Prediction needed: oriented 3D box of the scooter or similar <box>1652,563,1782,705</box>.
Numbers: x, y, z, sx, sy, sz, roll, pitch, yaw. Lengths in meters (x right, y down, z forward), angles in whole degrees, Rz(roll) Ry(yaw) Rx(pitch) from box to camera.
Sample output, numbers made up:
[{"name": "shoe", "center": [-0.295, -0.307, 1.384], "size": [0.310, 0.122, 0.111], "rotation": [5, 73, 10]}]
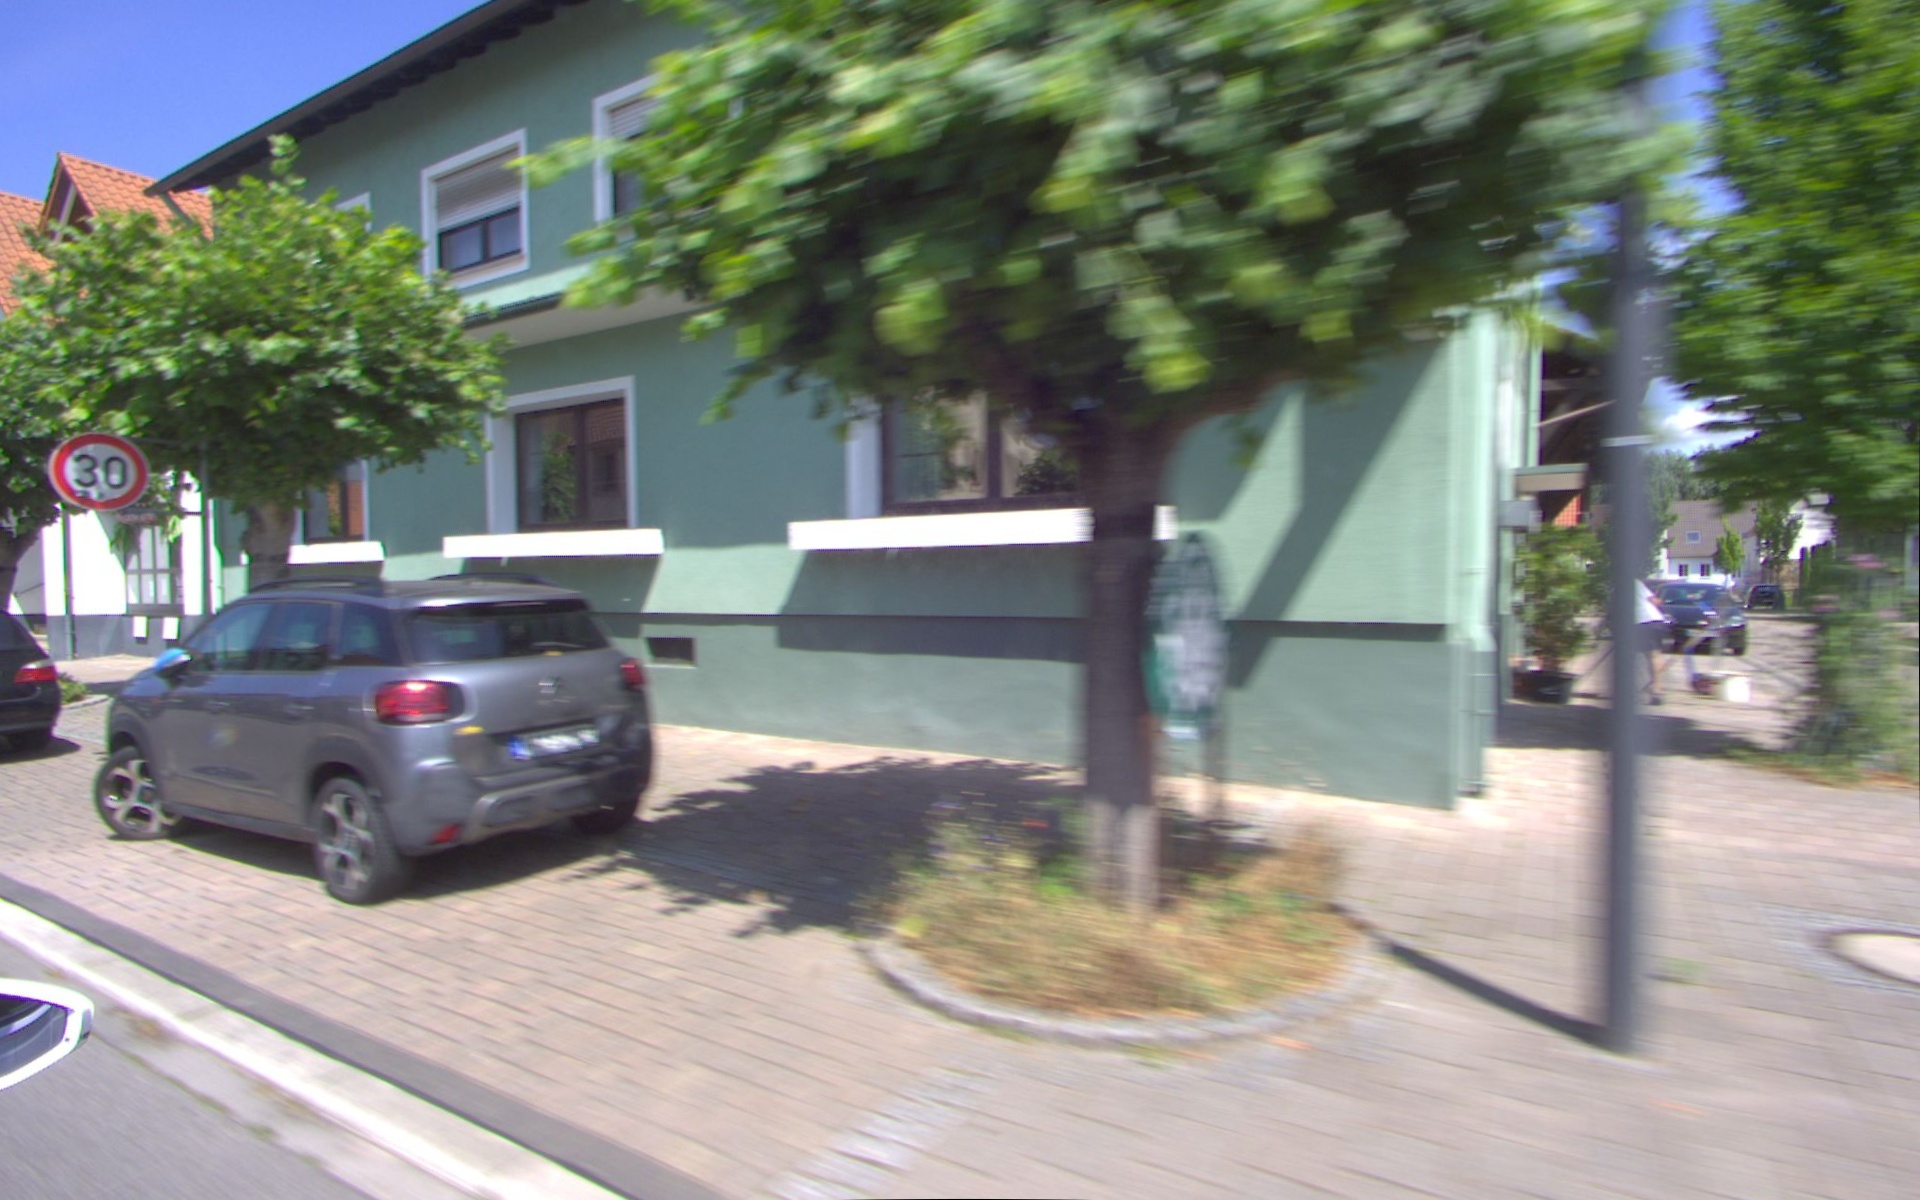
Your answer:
[{"name": "scooter or similar", "center": [9.610, 0.389, 12.775], "size": [1.175, 1.670, 1.090], "rotation": [4, 4, 36]}]

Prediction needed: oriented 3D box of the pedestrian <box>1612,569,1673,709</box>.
[{"name": "pedestrian", "center": [7.998, 0.452, 11.756], "size": [0.537, 1.590, 0.544], "rotation": [0, -1, 29]}]

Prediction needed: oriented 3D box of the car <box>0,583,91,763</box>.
[{"name": "car", "center": [-10.465, 0.654, 9.735], "size": [4.251, 1.577, 1.833], "rotation": [0, 3, 32]}]

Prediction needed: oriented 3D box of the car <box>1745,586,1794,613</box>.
[{"name": "car", "center": [47.127, -0.064, 58.357], "size": [1.715, 1.432, 3.719], "rotation": [-2, 0, 32]}]

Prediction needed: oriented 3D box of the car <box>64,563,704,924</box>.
[{"name": "car", "center": [-3.706, 0.636, 6.323], "size": [3.941, 1.629, 1.834], "rotation": [0, 1, 31]}]

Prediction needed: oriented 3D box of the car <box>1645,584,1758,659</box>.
[{"name": "car", "center": [16.006, 0.434, 21.765], "size": [1.601, 1.476, 3.721], "rotation": [1, 0, 32]}]
